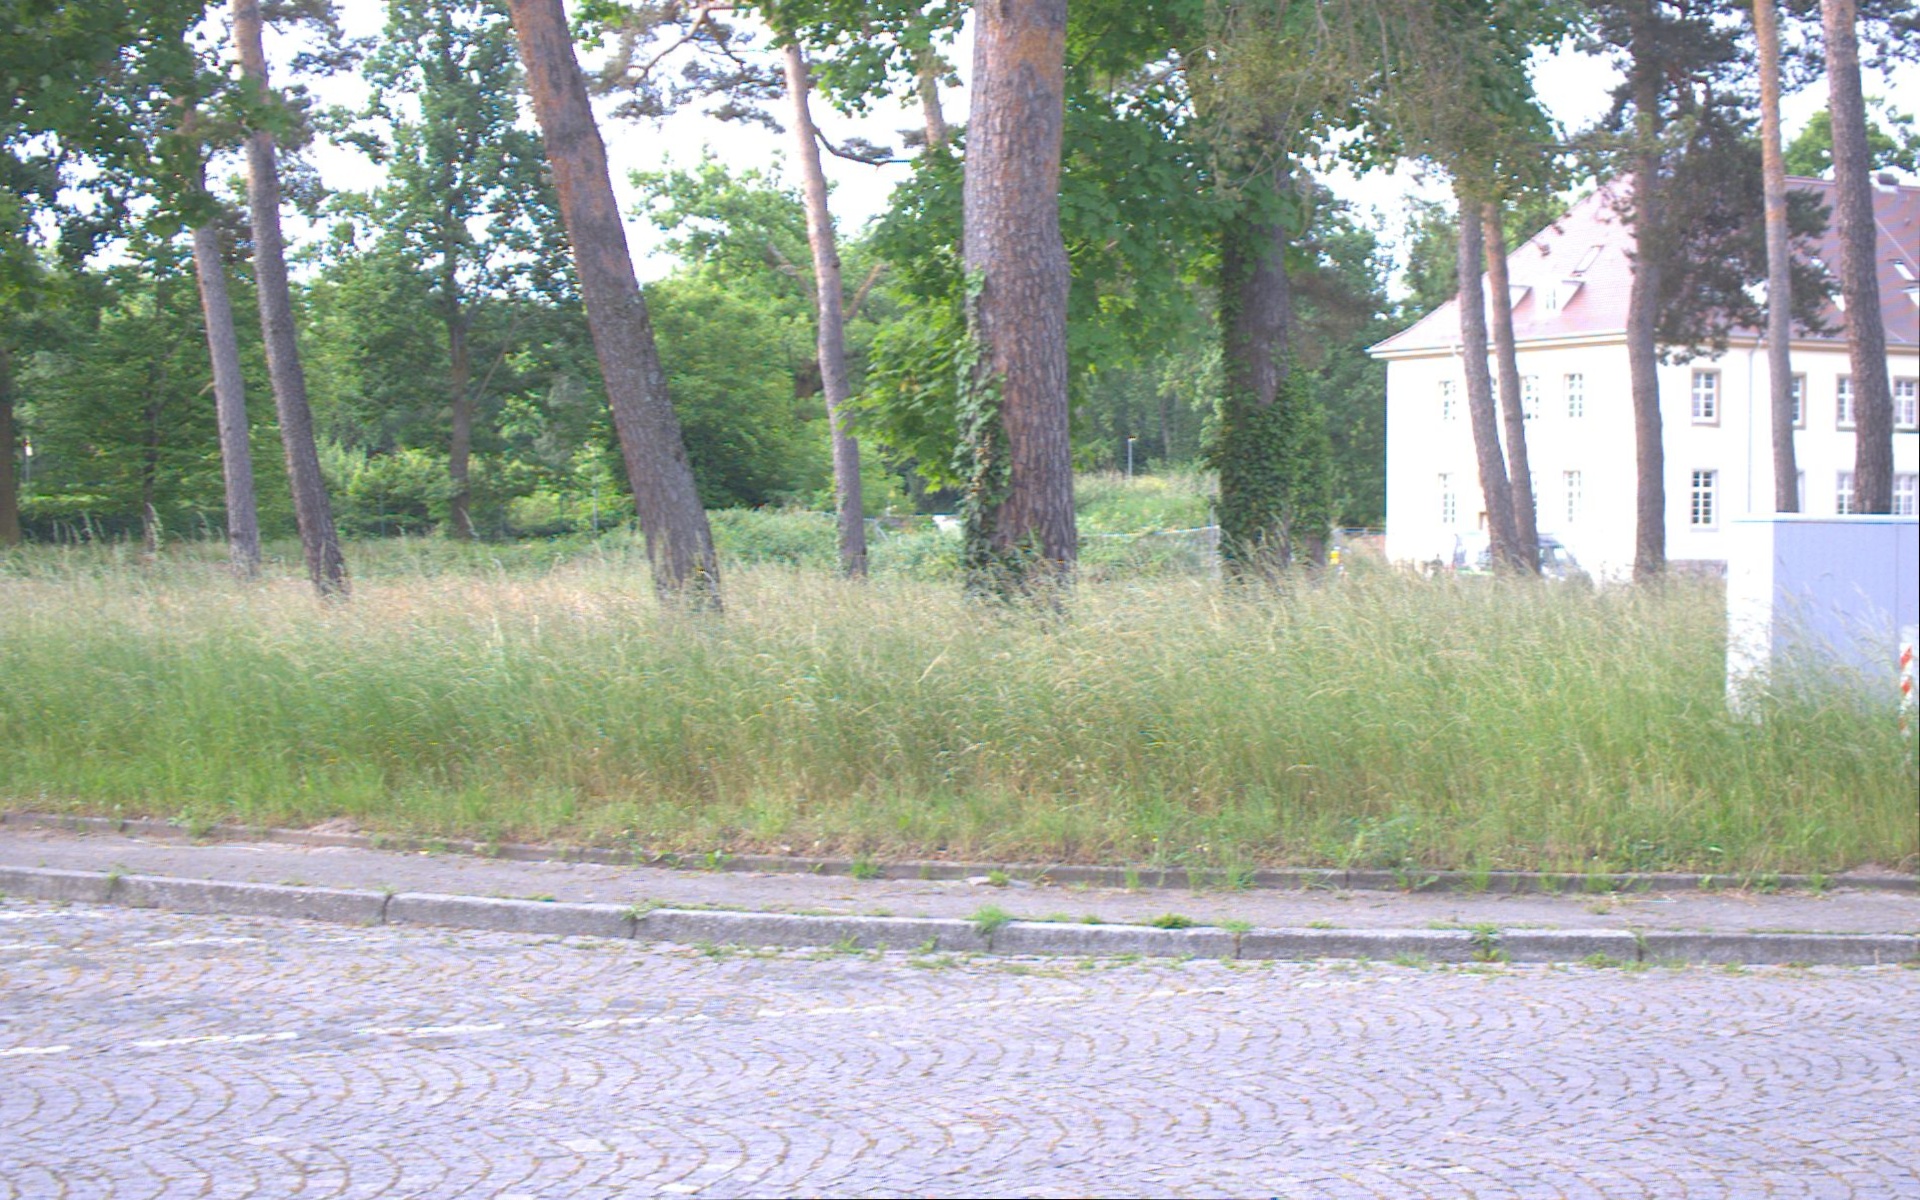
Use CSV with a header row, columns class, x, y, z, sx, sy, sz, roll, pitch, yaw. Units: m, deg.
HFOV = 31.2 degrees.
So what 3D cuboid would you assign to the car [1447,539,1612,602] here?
class,x,y,z,sx,sy,sz,roll,pitch,yaw
car,20.619,-1.090,124.728,2.363,2.108,5.824,2,0,-37
